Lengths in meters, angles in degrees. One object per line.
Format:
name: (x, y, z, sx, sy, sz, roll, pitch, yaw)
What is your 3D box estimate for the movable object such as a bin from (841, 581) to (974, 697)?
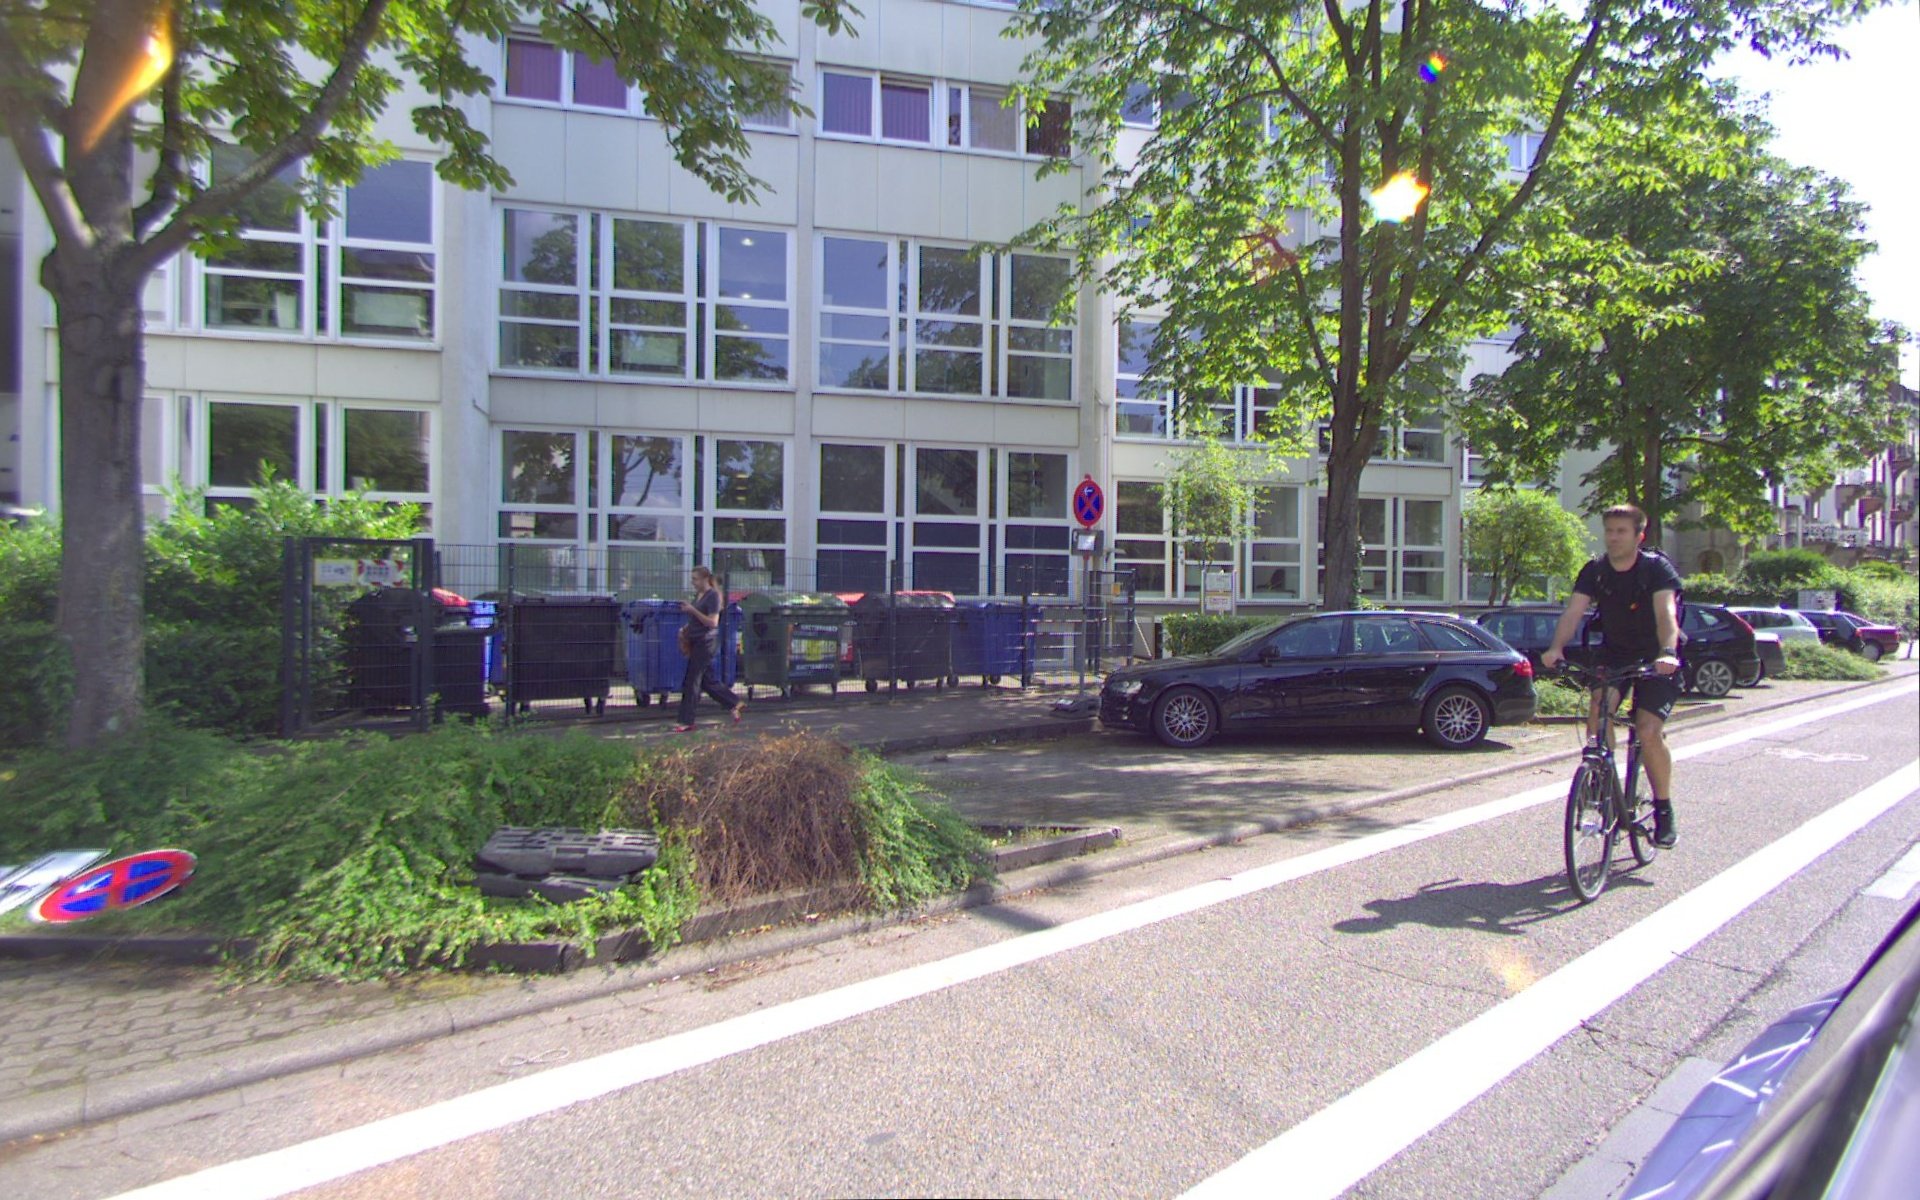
movable object such as a bin: (-0.762, 0.517, 14.537, 1.443, 1.558, 1.277, 0, 0, -39)

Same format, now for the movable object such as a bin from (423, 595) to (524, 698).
movable object such as a bin: (-6.982, 0.637, 14.601, 1.237, 1.355, 1.216, 1, 2, -24)

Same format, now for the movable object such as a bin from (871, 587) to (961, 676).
movable object such as a bin: (-0.793, 0.534, 17.893, 1.237, 1.465, 1.383, 1, 2, -18)

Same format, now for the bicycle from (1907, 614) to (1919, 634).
bicycle: (35.080, 0.884, 37.127, 1.531, 0.685, 0.280, 0, 4, -40)

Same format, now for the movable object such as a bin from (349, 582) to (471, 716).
movable object such as a bin: (-6.467, 0.559, 11.979, 0.918, 1.500, 1.270, 1, -1, -12)

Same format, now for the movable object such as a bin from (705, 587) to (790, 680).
movable object such as a bin: (-3.634, 0.541, 17.205, 1.237, 1.465, 1.383, 1, 2, -18)

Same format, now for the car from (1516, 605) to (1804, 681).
car: (13.349, 0.805, 19.545, 4.103, 1.366, 1.902, -1, -1, 6)

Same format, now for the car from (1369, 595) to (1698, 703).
car: (8.625, 0.716, 15.532, 4.006, 1.462, 1.722, 1, -2, 7)

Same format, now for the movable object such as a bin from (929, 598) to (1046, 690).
movable object such as a bin: (0.427, 0.641, 15.693, 1.302, 1.335, 1.278, 0, 0, -39)

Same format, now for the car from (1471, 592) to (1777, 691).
car: (11.288, 0.696, 17.506, 3.934, 1.595, 1.900, -1, -1, 9)

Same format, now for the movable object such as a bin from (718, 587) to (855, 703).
movable object such as a bin: (-2.345, 0.595, 13.678, 1.274, 1.456, 1.331, -3, -3, 43)

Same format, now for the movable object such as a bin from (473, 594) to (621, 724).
movable object such as a bin: (-4.677, 0.624, 11.444, 1.215, 1.353, 1.277, 0, -1, -41)

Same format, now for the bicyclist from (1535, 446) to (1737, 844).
bicyclist: (3.758, 0.221, 5.611, 1.110, 1.973, 0.608, 0, -1, -40)

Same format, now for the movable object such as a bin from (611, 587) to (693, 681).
movable object such as a bin: (-5.137, 0.540, 16.886, 1.237, 1.465, 1.383, 1, 2, -18)

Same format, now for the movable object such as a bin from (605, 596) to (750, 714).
movable object such as a bin: (-3.529, 0.642, 12.622, 1.335, 1.353, 1.277, 0, -1, -41)

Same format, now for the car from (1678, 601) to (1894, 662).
car: (20.995, 0.767, 25.873, 3.933, 1.467, 1.695, 0, 0, 9)

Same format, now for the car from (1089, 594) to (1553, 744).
car: (3.745, 0.724, 11.301, 4.457, 1.460, 2.028, -1, -1, 6)

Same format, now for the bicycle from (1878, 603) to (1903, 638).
bicycle: (30.997, 0.673, 33.698, 1.975, 1.122, 0.280, 0, 4, -40)

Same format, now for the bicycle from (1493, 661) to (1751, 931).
bicycle: (3.635, 0.962, 5.498, 1.804, 1.057, 0.617, -2, 5, -40)

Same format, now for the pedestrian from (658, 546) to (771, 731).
pedestrian: (-2.665, 0.390, 10.959, 0.983, 1.897, 0.763, 0, 0, -34)

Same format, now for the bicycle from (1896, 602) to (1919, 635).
bicycle: (33.644, 0.650, 35.919, 1.975, 1.122, 0.280, 0, 4, -40)

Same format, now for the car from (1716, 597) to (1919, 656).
car: (23.531, 0.687, 27.692, 4.091, 1.441, 1.862, 1, 1, 9)

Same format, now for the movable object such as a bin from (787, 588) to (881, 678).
movable object such as a bin: (-2.186, 0.541, 17.437, 1.422, 1.474, 1.212, -1, 0, -16)

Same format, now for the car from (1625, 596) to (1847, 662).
car: (18.264, 0.661, 23.960, 3.930, 1.479, 1.533, 0, 0, 6)
